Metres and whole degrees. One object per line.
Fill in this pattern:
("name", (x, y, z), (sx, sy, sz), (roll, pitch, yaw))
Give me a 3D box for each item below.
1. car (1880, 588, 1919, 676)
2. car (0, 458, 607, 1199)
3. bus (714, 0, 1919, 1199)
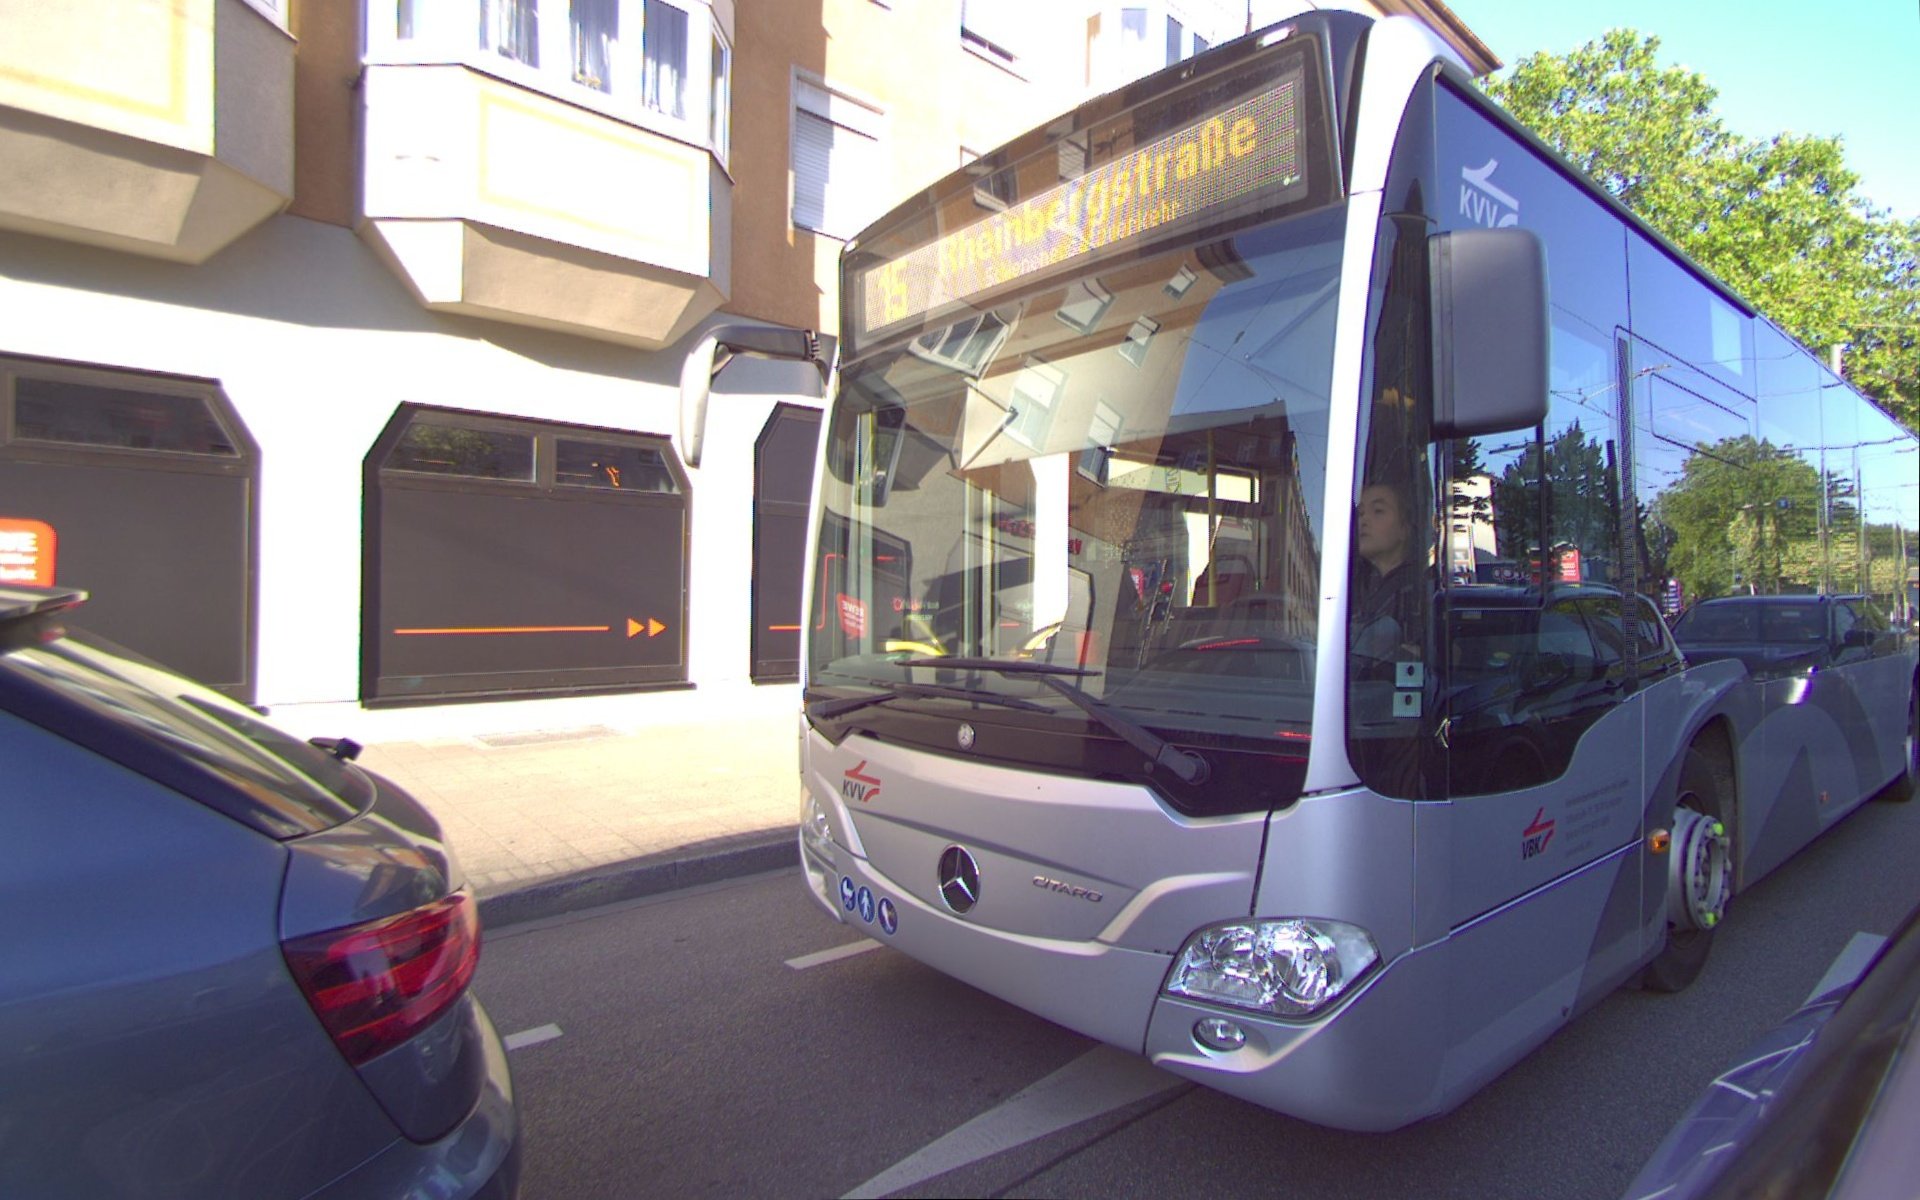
("car", (19.483, 0.590, 19.883), (3.759, 1.628, 1.747), (-1, 0, -43))
("car", (-2.587, 0.644, 0.631), (4.151, 1.572, 1.700), (0, 0, -41))
("bus", (6.483, -0.177, 8.695), (17.432, 3.189, 2.771), (0, 1, -41))
